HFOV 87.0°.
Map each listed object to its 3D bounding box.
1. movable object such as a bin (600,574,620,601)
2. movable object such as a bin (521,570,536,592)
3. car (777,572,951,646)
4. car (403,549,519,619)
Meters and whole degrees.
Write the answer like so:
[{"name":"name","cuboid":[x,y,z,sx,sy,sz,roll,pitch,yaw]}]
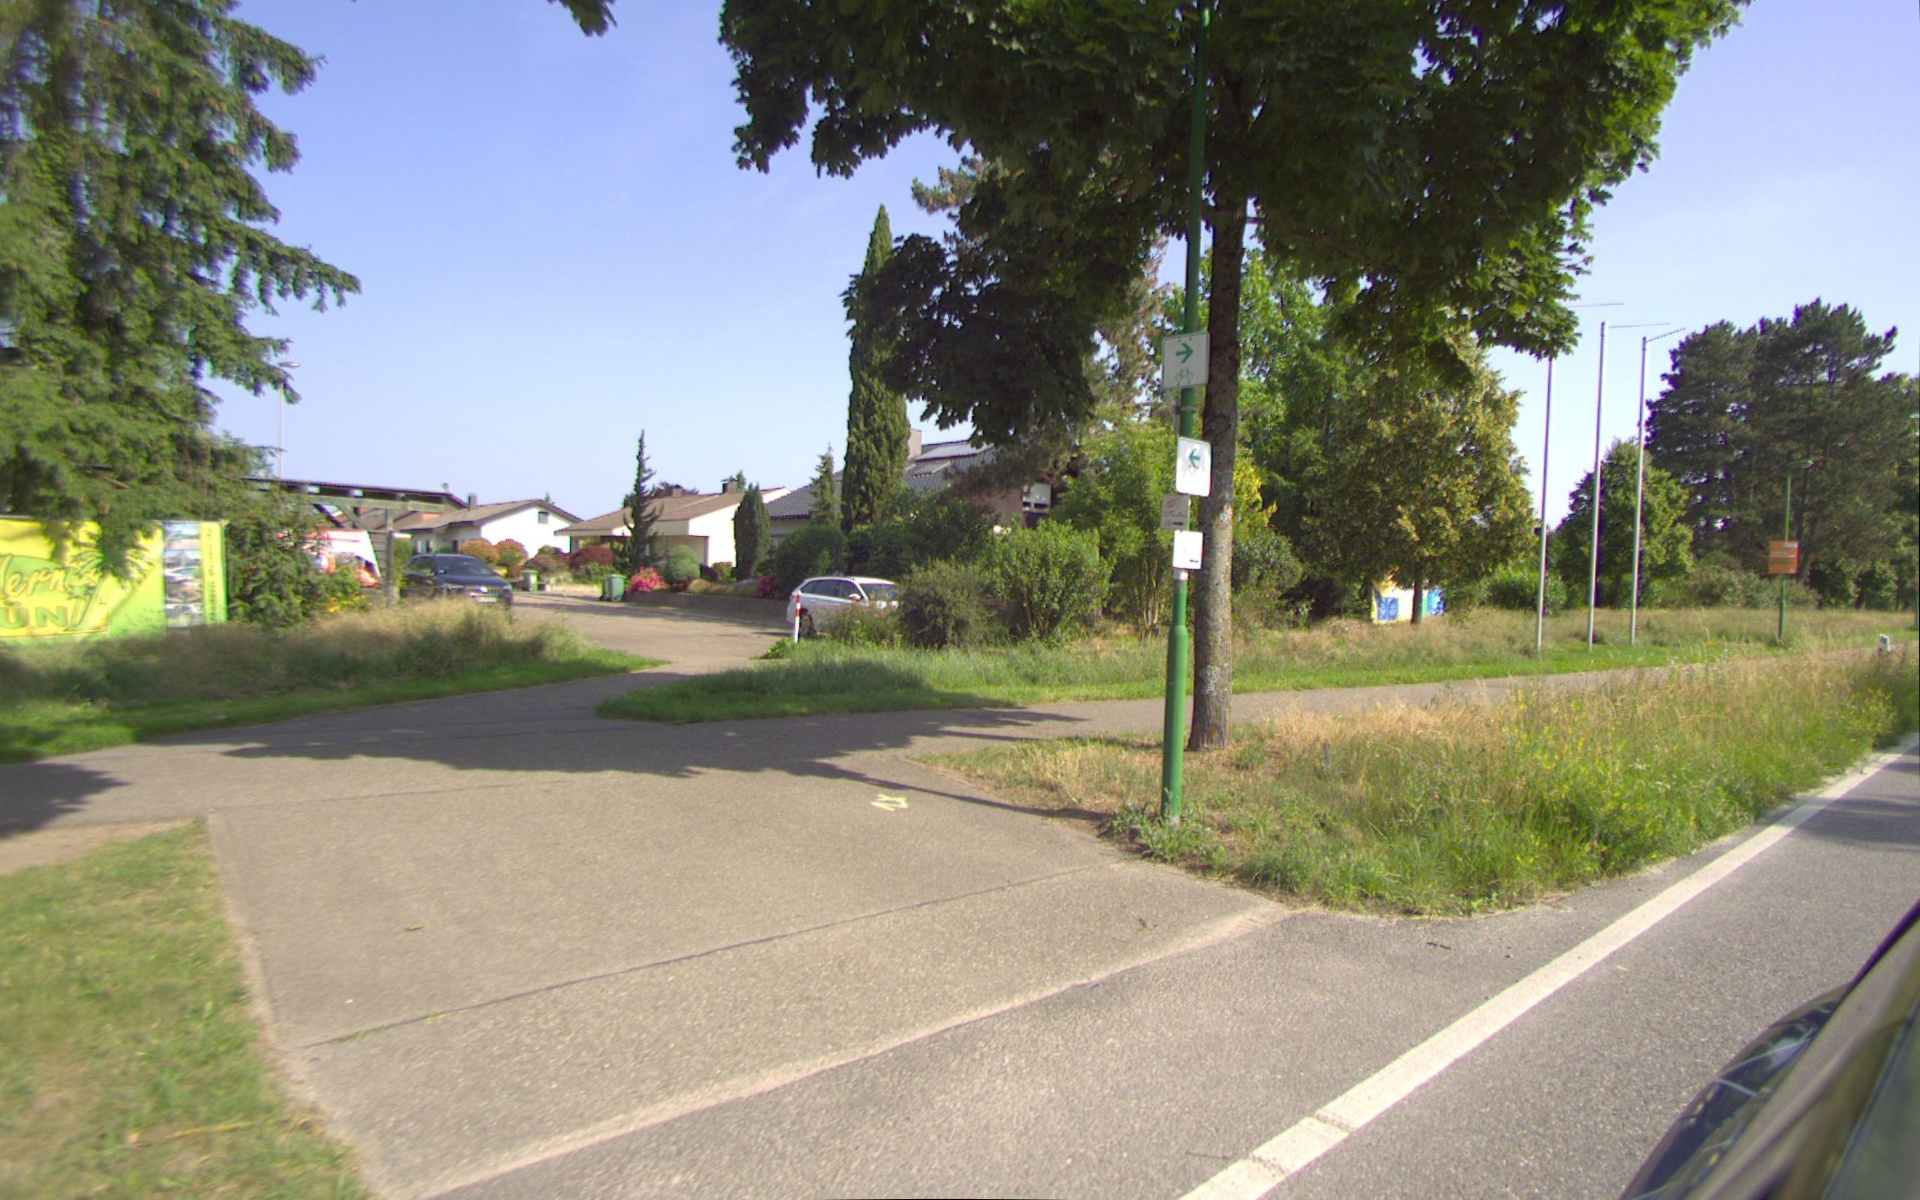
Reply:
[{"name":"movable object such as a bin","cuboid":[-13.535,-0.467,39.169,0.637,1.028,0.383,1,1,-41]},{"name":"movable object such as a bin","cuboid":[-19.613,-0.851,45.968,0.531,1.000,0.383,1,1,-41]},{"name":"car","cuboid":[-2.245,0.159,23.042,3.989,1.452,1.786,3,2,44]},{"name":"car","cuboid":[-13.177,-0.439,26.613,1.808,1.683,3.934,1,1,-41]}]
